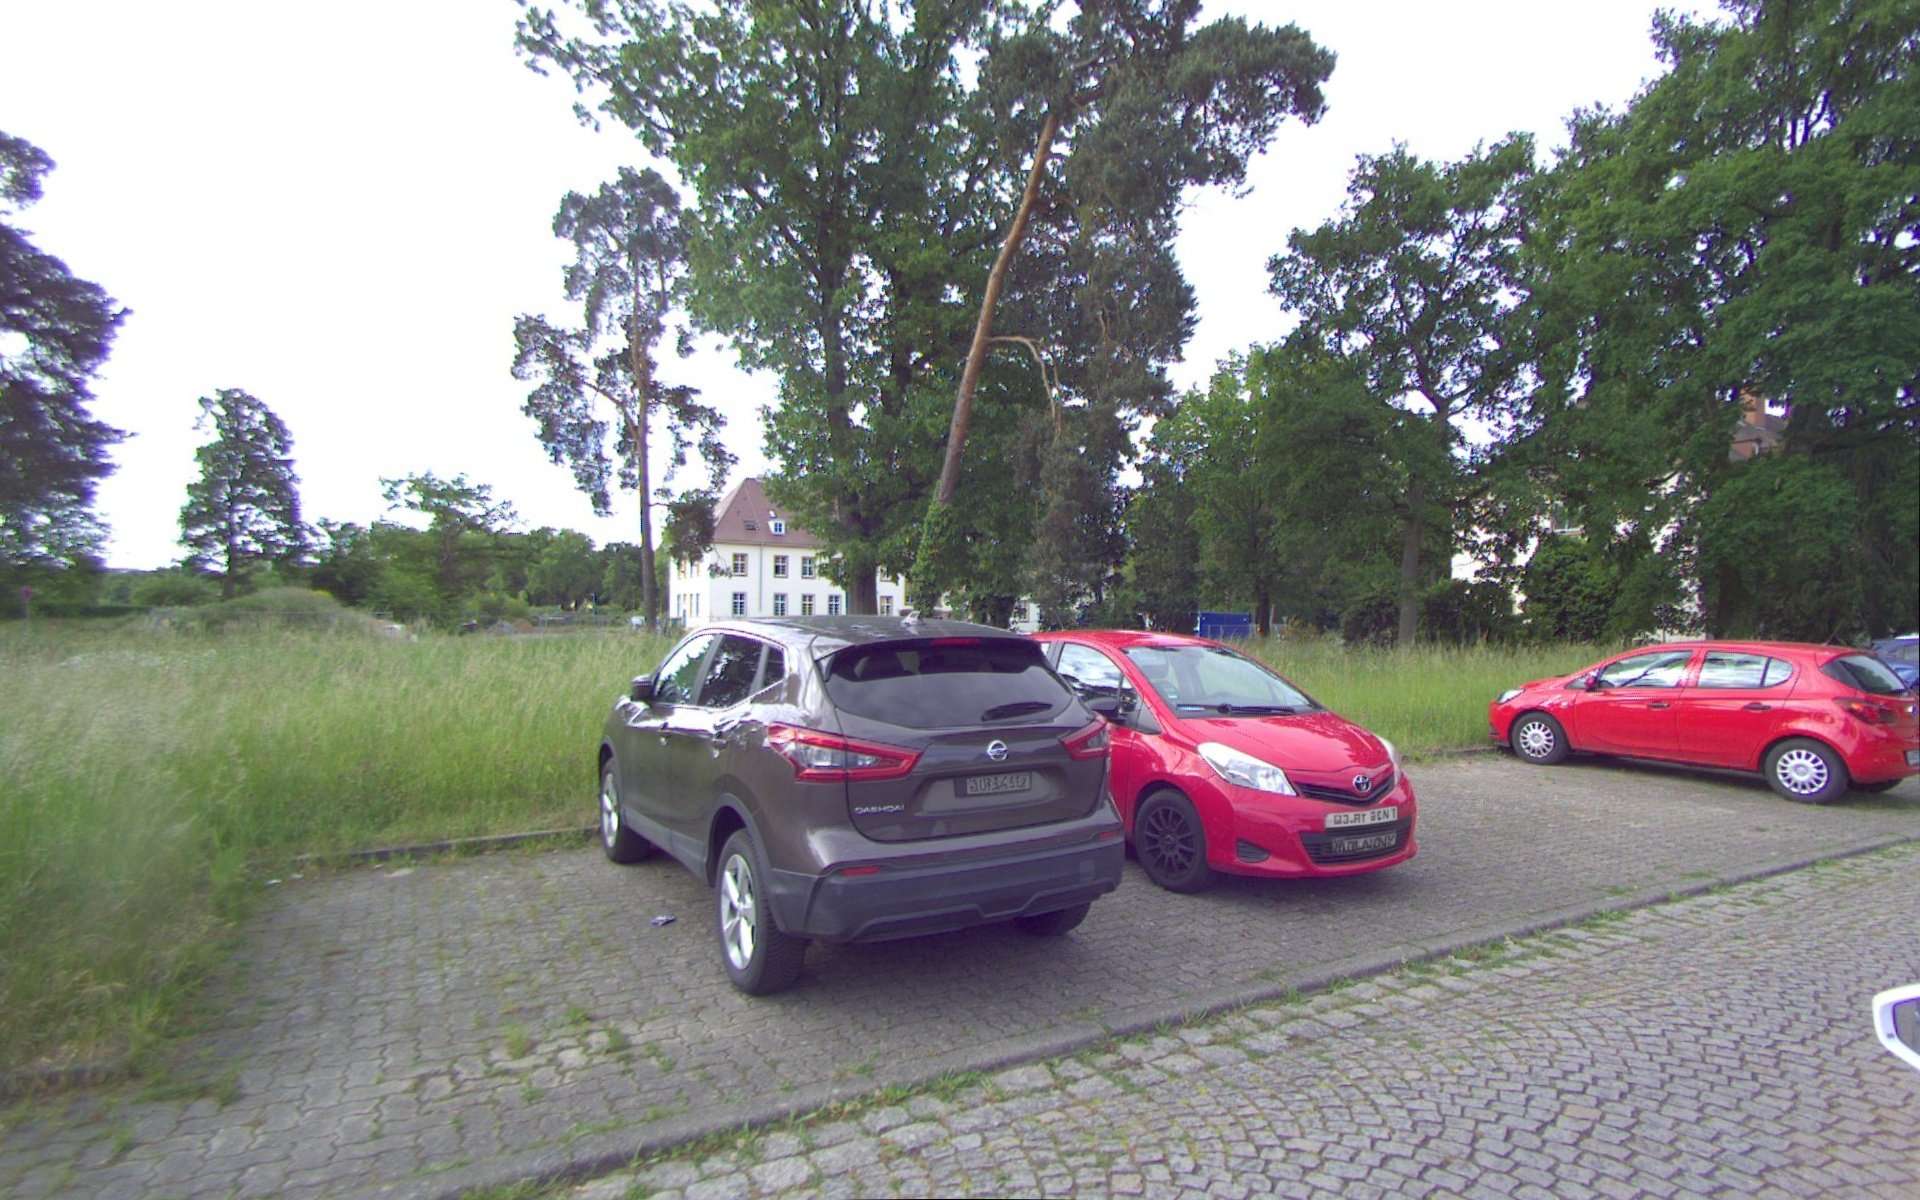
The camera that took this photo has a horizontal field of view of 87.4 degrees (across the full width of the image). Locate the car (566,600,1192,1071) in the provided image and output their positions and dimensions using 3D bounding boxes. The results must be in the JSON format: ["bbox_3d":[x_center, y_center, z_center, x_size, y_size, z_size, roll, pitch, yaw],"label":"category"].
[{"bbox_3d":[-0.850,0.875,5.812,1.964,1.643,4.144,1,-2,-31],"label":"car"}]

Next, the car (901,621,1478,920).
[{"bbox_3d":[1.331,0.936,7.465,1.885,1.530,4.146,1,-2,-30],"label":"car"}]

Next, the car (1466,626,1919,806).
[{"bbox_3d":[7.988,1.073,11.001,1.883,1.545,4.035,1,-2,-30],"label":"car"}]

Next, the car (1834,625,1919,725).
[{"bbox_3d":[16.846,1.246,15.881,1.865,1.598,4.207,1,0,-30],"label":"car"}]

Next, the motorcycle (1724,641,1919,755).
[{"bbox_3d":[11.696,1.251,13.432,0.710,1.309,2.265,1,0,-28],"label":"motorcycle"}]
